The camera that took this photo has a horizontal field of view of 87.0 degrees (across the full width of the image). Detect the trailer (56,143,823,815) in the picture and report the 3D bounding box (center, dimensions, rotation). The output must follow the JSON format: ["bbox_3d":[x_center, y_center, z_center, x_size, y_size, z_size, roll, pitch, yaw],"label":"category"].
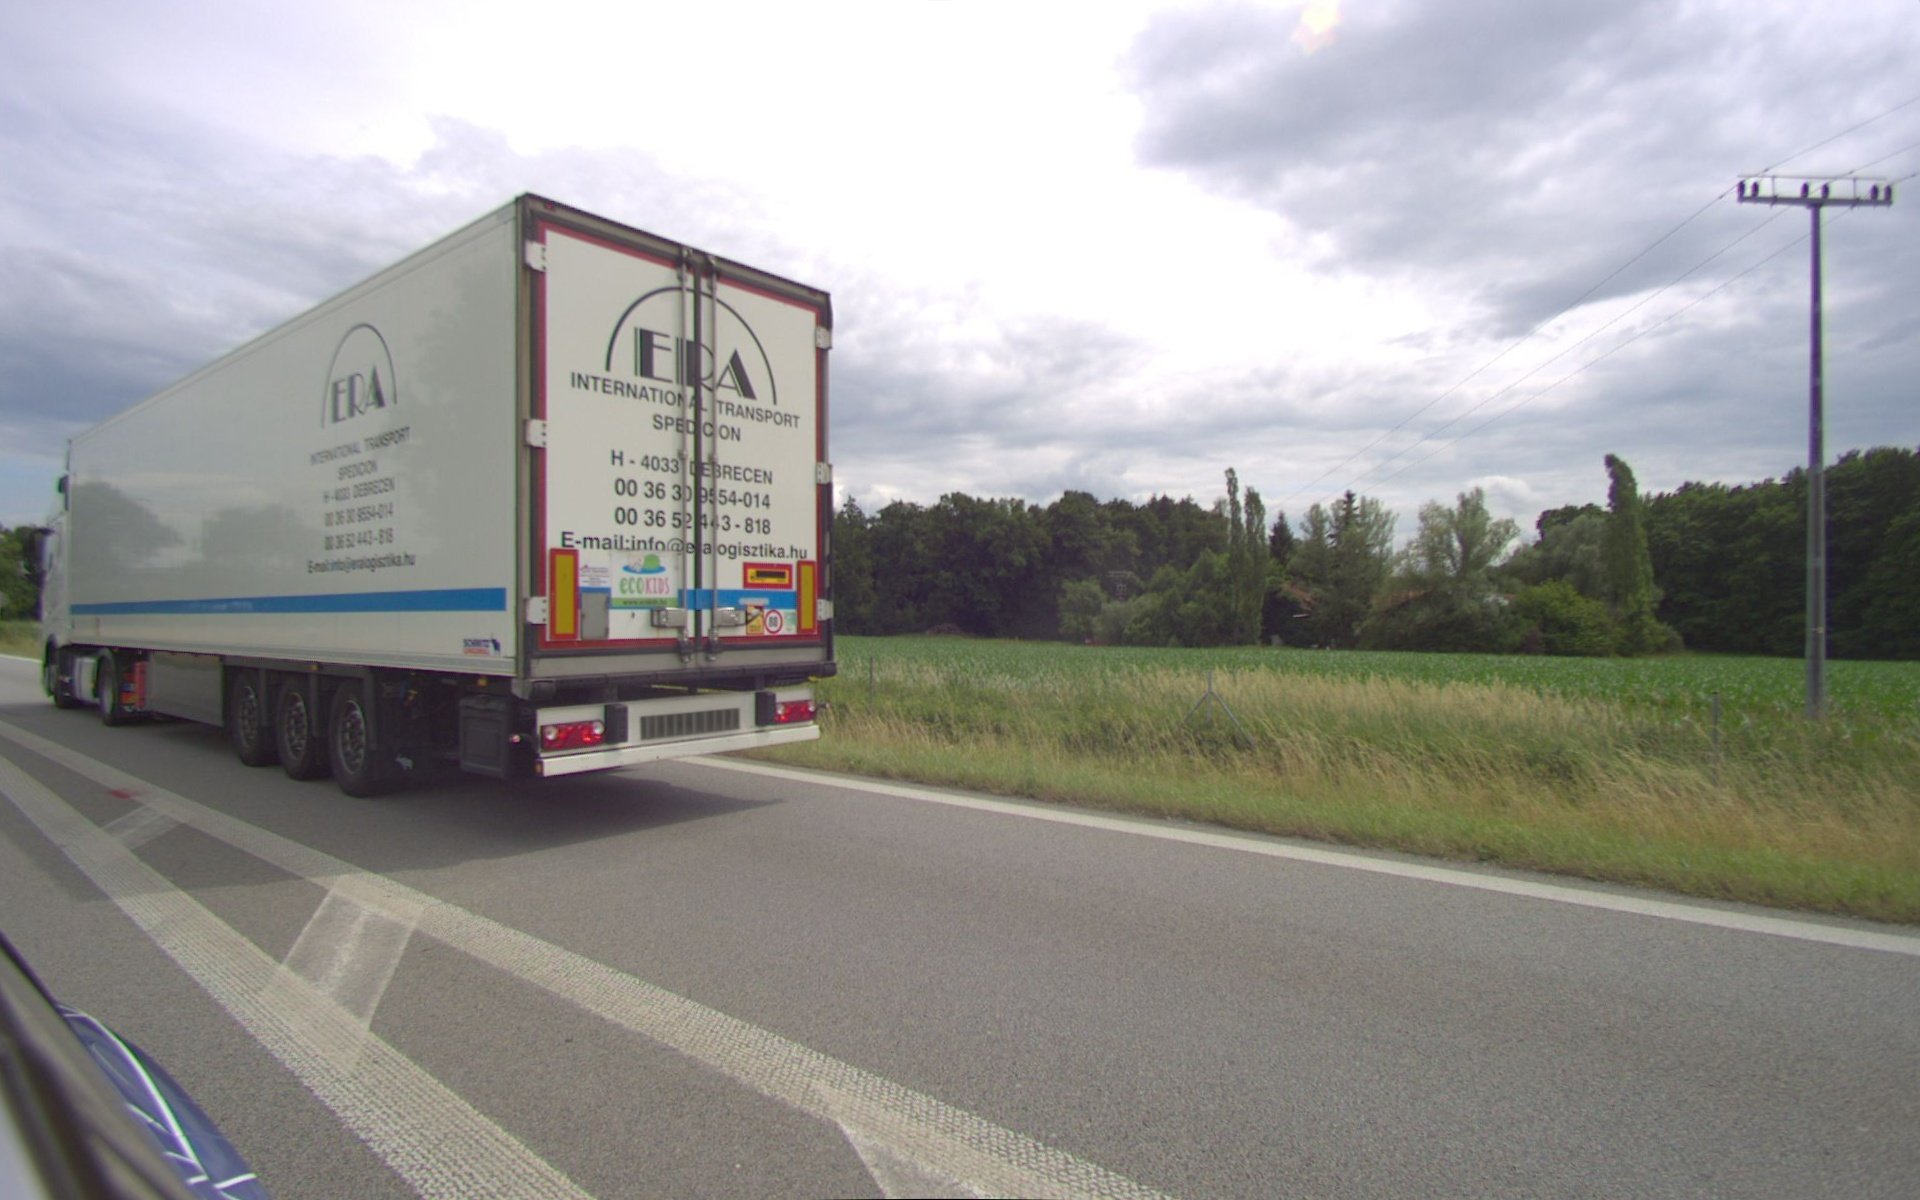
[{"bbox_3d":[-6.913,-0.606,11.138,13.061,4.026,2.465,-1,-2,39],"label":"trailer"}]

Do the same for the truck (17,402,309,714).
[{"bbox_3d":[-12.424,-0.487,15.661,5.199,4.026,2.465,-1,-2,39],"label":"truck"}]
